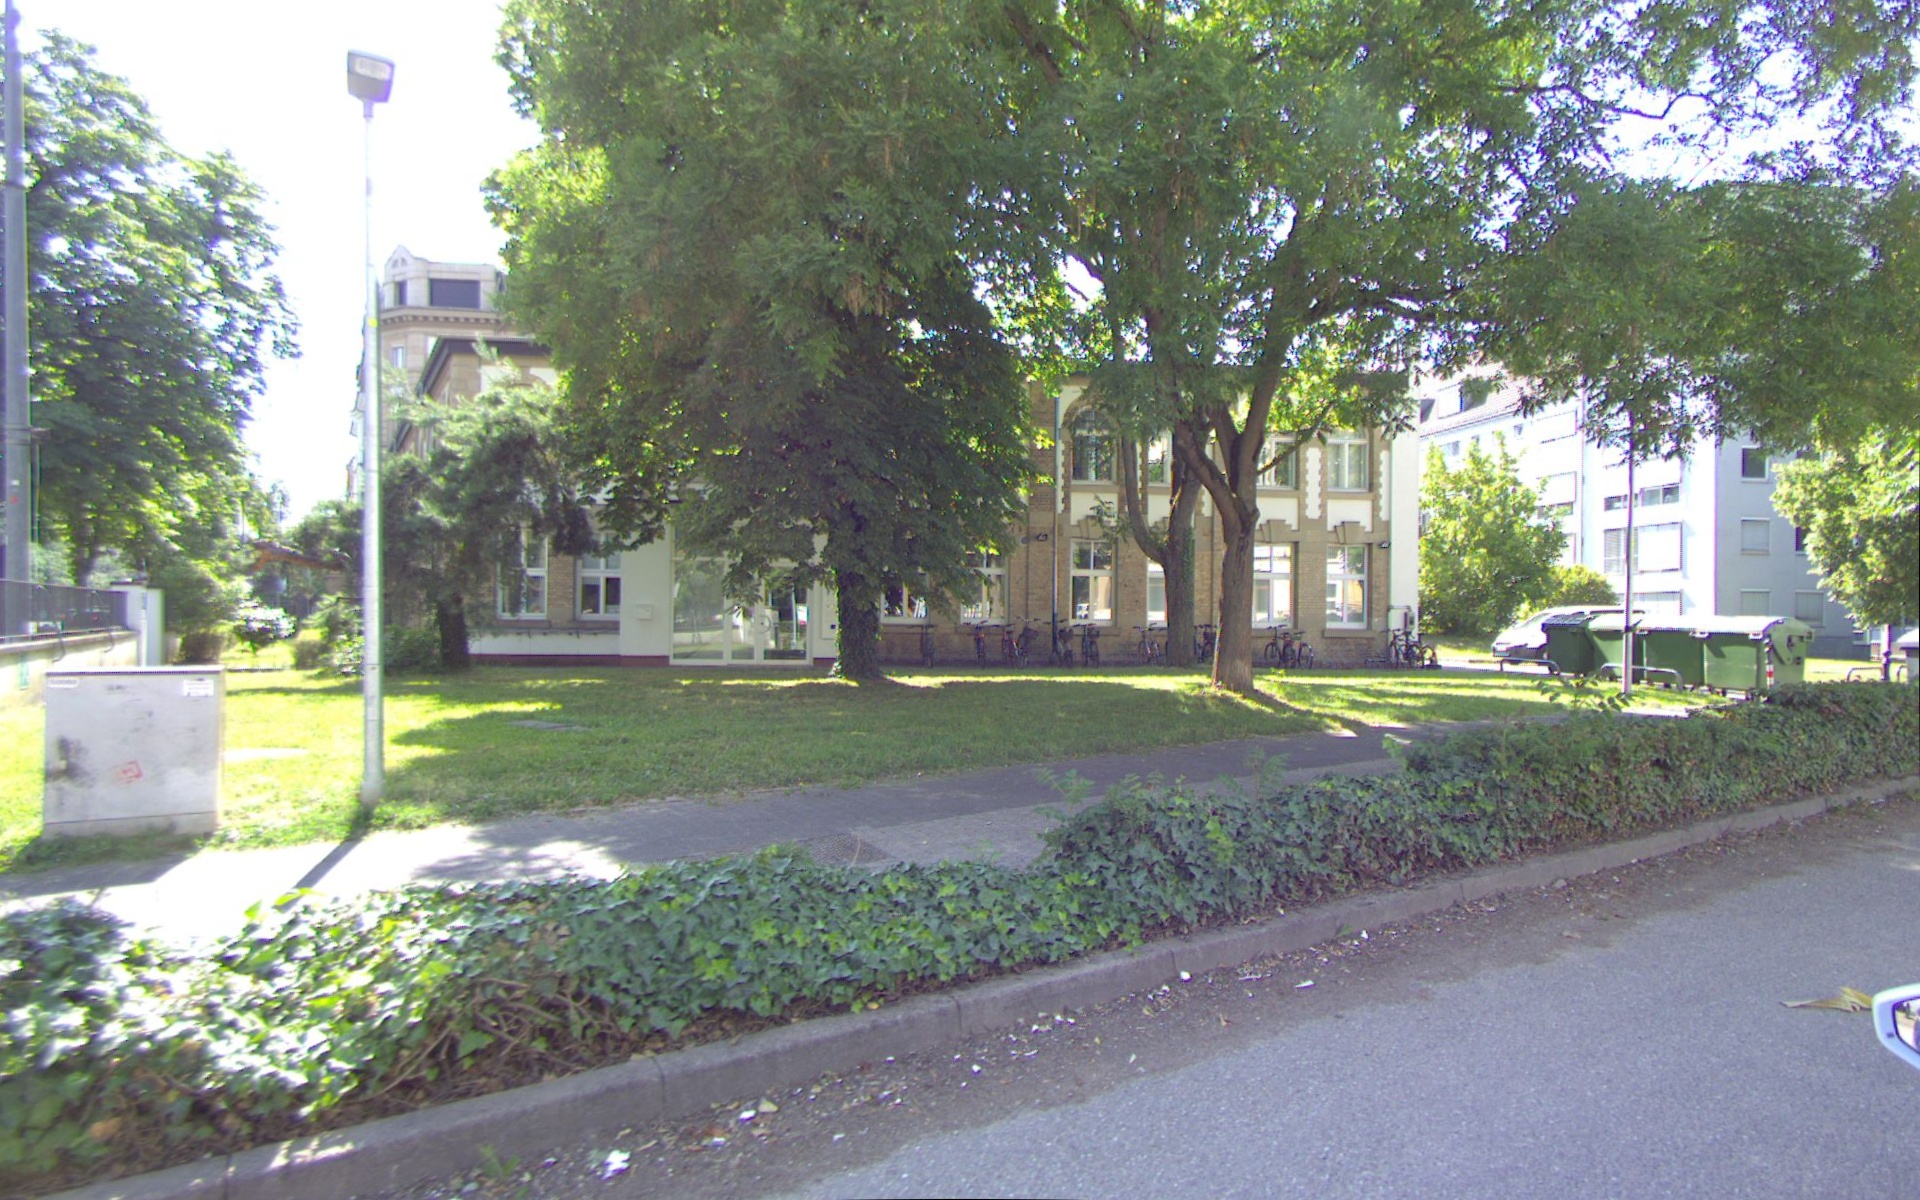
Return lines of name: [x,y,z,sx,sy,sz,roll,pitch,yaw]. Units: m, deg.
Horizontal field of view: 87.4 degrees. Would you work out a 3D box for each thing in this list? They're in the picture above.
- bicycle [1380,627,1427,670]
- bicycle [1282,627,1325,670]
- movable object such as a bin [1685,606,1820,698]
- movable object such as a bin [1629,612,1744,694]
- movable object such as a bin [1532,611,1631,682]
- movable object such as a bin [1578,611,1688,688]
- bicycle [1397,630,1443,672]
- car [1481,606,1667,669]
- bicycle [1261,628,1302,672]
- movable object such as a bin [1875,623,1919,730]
bicycle: [11.373,1.227,25.810,0.437,1.006,1.630,0,0,-2]
bicycle: [8.648,1.210,25.319,0.437,1.006,1.685,0,0,-2]
movable object such as a bin: [13.419,0.860,17.049,1.226,1.501,1.336,1,-1,-11]
movable object such as a bin: [13.321,0.953,18.452,1.228,1.450,1.219,1,-1,-16]
movable object such as a bin: [13.174,0.972,21.348,1.225,1.450,1.349,1,-1,-6]
movable object such as a bin: [13.264,0.958,19.840,1.225,1.450,1.365,1,-1,-6]
bicycle: [11.845,1.303,25.911,0.437,1.006,1.540,0,0,-2]
car: [20.074,1.211,32.961,4.944,1.959,1.999,1,-1,-4]
bicycle: [8.080,1.241,25.324,0.437,1.006,1.666,0,0,-2]
movable object such as a bin: [13.390,1.031,13.387,1.223,1.415,1.405,0,-1,13]
